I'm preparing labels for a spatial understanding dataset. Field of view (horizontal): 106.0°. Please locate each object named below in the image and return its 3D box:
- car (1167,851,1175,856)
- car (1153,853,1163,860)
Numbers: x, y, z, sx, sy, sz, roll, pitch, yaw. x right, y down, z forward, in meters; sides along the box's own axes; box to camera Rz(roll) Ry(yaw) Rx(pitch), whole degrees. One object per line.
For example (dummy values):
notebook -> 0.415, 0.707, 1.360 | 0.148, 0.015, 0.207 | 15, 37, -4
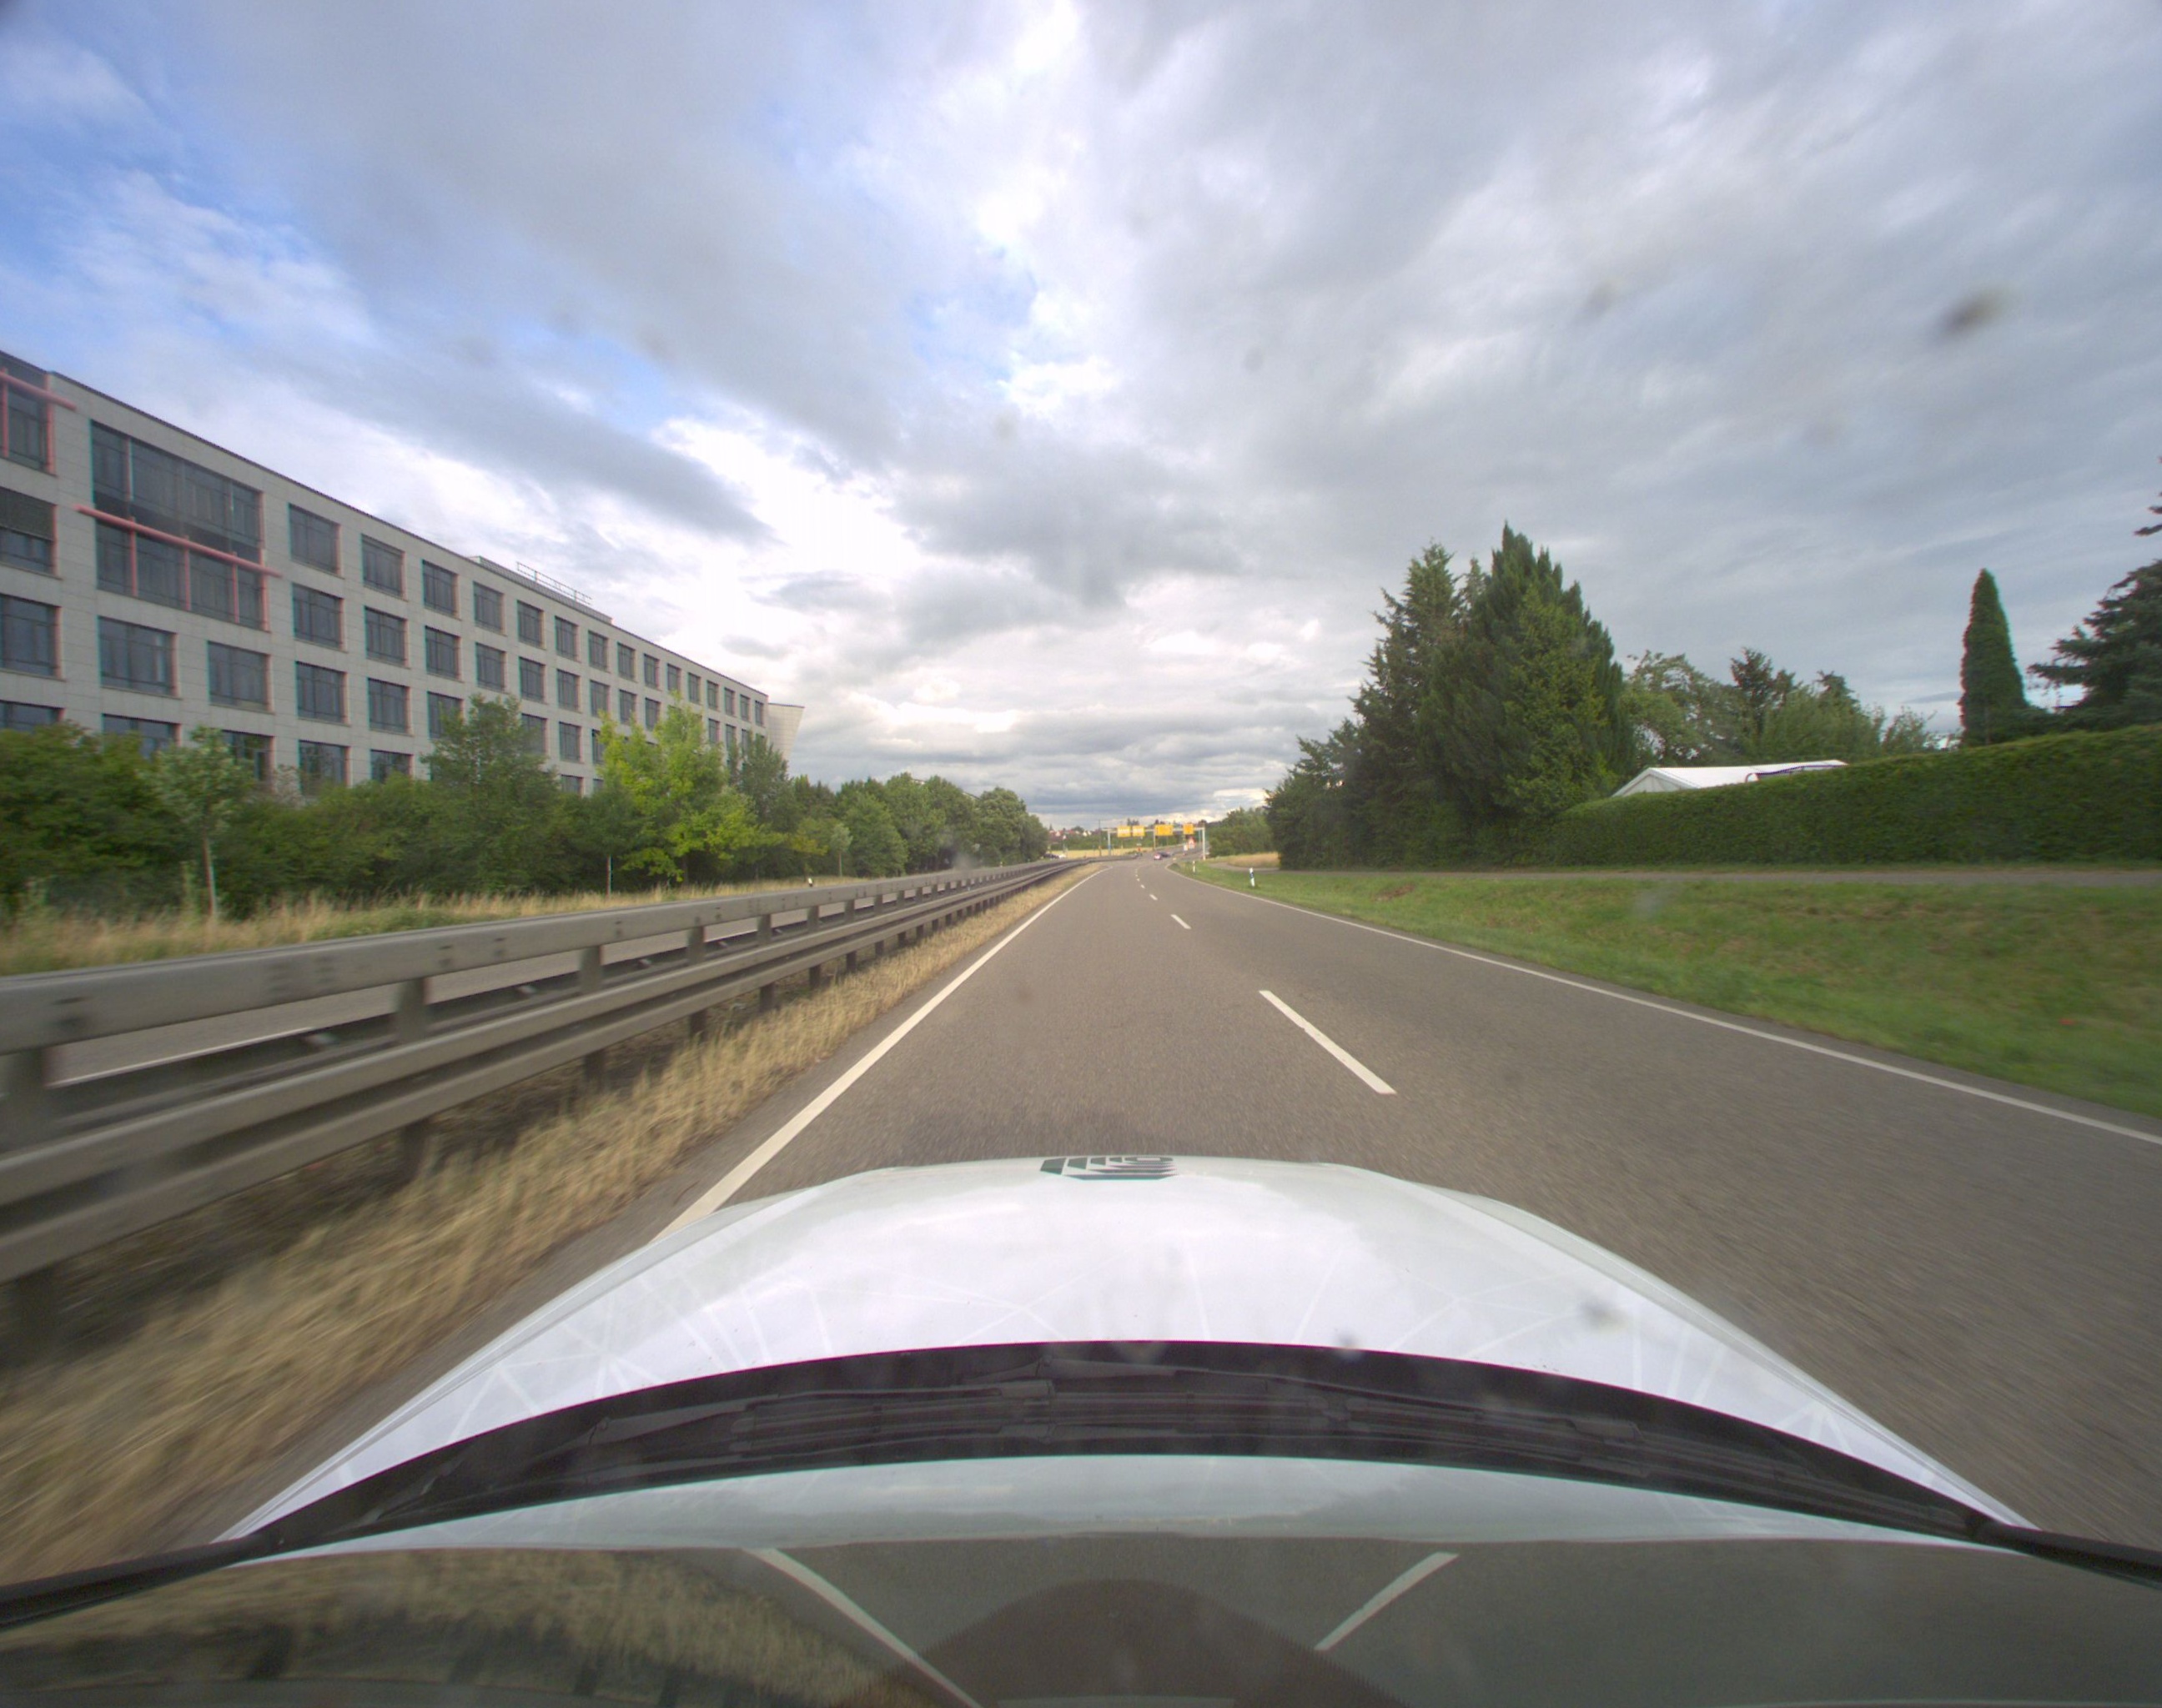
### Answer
car -> 28.190, -0.074, 255.954 | 1.784, 1.556, 4.016 | -2, 0, 15
car -> 20.314, 0.665, 214.479 | 1.784, 1.556, 4.016 | -2, 0, 15
